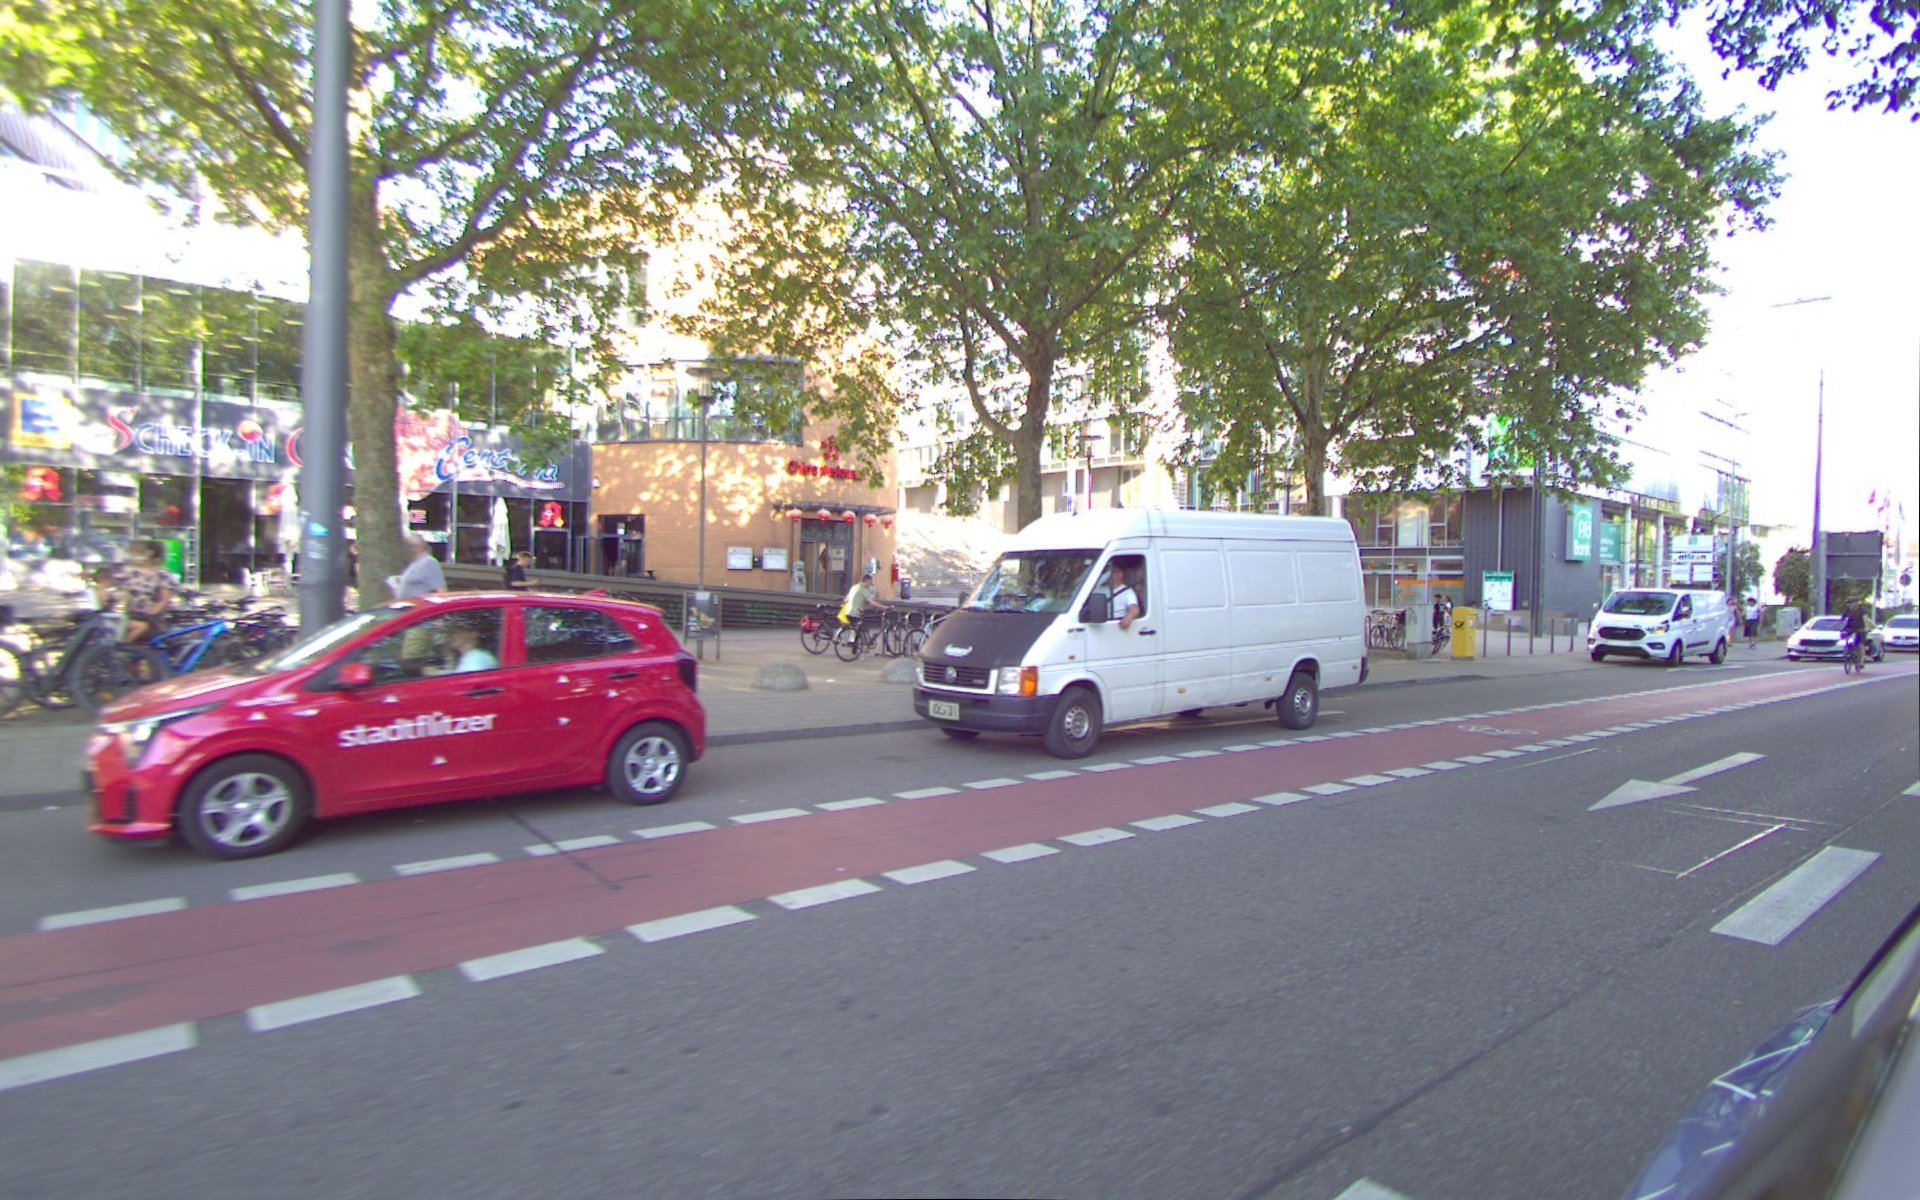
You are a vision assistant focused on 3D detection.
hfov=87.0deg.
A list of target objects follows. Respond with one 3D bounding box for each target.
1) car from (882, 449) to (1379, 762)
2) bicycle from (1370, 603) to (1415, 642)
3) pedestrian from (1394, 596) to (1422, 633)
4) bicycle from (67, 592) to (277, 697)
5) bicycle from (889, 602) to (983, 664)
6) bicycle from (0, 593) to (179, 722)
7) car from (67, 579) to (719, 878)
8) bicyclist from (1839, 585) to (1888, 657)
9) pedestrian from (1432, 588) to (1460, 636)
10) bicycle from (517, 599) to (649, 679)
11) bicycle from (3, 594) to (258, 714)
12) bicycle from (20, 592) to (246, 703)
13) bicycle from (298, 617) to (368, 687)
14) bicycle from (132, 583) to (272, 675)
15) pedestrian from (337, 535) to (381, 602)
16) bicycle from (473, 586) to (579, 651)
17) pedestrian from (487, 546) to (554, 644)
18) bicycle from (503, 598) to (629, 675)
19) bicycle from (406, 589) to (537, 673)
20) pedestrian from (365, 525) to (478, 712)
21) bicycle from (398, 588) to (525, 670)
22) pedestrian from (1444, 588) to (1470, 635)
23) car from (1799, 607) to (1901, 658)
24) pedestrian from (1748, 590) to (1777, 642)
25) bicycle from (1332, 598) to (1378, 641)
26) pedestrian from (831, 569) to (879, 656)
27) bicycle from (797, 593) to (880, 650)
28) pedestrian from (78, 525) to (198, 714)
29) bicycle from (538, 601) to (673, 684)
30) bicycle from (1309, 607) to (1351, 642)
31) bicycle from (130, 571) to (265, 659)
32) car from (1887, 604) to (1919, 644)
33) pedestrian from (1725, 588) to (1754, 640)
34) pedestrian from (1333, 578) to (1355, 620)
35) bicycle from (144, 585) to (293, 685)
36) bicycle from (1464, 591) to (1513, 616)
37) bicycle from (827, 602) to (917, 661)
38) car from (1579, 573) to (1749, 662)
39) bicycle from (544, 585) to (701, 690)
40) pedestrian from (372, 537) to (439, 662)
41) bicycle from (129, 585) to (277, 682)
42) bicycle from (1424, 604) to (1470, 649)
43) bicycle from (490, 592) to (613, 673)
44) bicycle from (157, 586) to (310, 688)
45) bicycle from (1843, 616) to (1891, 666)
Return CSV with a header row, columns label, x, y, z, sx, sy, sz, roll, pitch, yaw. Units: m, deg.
label,x,y,z,sx,sy,sz,roll,pitch,yaw
car,2.294,0.055,11.766,6.444,2.759,1.997,0,0,-40
bicycle,12.102,0.612,28.272,1.598,1.042,0.460,0,1,-40
pedestrian,15.596,0.492,35.260,0.664,1.236,0.616,1,1,-35
bicycle,-8.905,0.500,11.505,1.787,1.130,0.610,1,1,-13
bicycle,-0.435,0.584,18.410,1.623,1.060,0.598,1,1,-33
bicycle,-8.385,0.516,9.322,1.787,1.130,0.599,1,1,-13
car,-3.605,0.627,6.795,3.559,1.482,1.561,0,0,-42
bicyclist,22.034,0.507,24.672,0.701,1.709,0.752,1,1,-39
pedestrian,16.245,0.390,33.830,0.625,1.562,0.579,1,1,-32
bicycle,-5.274,0.515,14.215,1.626,1.044,0.596,0,1,-42
bicycle,-8.280,0.530,10.177,1.908,1.130,0.599,1,1,-13
bicycle,-8.804,0.498,10.844,1.787,1.130,0.599,1,1,-13
bicycle,-7.653,0.617,12.390,0.391,0.770,1.114,1,1,-13
bicycle,-10.228,0.372,13.702,0.420,1.174,1.455,2,1,40
pedestrian,-17.227,-0.908,29.039,0.834,1.867,1.002,1,1,-16
bicycle,-8.154,0.335,19.032,1.736,1.174,0.578,1,1,-35
pedestrian,-8.237,-0.100,18.958,1.000,1.779,0.789,1,1,-36
bicycle,-5.706,0.500,14.700,1.626,1.044,0.503,0,1,-42
bicycle,-7.204,0.435,14.962,1.662,1.174,0.479,0,1,-38
pedestrian,-5.522,0.165,10.375,0.795,1.808,0.872,1,1,-45
bicycle,-7.538,0.423,15.347,1.662,1.174,0.479,0,1,-38
pedestrian,16.821,0.383,34.239,0.623,1.542,0.517,1,1,-32
car,28.231,0.991,32.068,3.949,1.437,1.786,0,1,-39
pedestrian,28.657,0.555,36.141,0.875,1.831,0.565,1,1,-38
bicycle,11.497,0.561,29.407,1.688,1.193,0.460,0,1,-40
pedestrian,-2.050,0.236,19.740,0.624,1.651,0.719,1,1,-35
bicycle,-2.527,0.443,21.128,1.623,1.140,0.598,1,1,-33
pedestrian,-8.246,0.182,10.182,0.644,1.808,0.810,1,1,-15
bicycle,-4.794,0.552,13.745,1.626,1.044,0.596,0,1,-42
bicycle,10.970,0.716,29.982,1.483,0.971,0.460,0,1,-40
bicycle,-10.700,0.194,14.233,0.420,1.174,1.455,2,1,40
car,37.759,0.922,39.402,3.795,1.482,1.673,0,1,-36
pedestrian,28.251,0.501,36.692,0.879,1.831,0.591,1,1,-38
pedestrian,15.861,-0.051,41.828,0.710,1.697,0.540,1,1,-39
bicycle,-9.274,0.413,12.700,0.420,1.174,1.455,2,1,40
bicycle,24.716,0.158,47.342,0.688,1.076,1.879,1,2,-39
bicycle,-1.671,0.588,19.361,1.624,1.060,0.597,0,1,-36
car,18.963,0.412,27.189,5.190,2.160,2.130,0,1,-36
bicycle,-4.382,0.458,13.225,1.844,1.280,0.596,0,1,-42
pedestrian,-8.234,-0.016,15.026,0.756,1.779,0.820,1,1,-36
bicycle,-9.685,0.403,12.992,0.420,1.174,1.455,2,1,40
bicycle,13.028,0.696,27.049,1.512,1.173,0.514,0,1,-40
bicycle,-6.097,0.466,15.162,1.626,1.151,0.503,0,1,-42
bicycle,-8.881,0.422,12.411,0.477,1.174,1.455,2,1,40
bicycle,22.034,0.980,24.570,2.089,1.135,0.551,0,1,-40
